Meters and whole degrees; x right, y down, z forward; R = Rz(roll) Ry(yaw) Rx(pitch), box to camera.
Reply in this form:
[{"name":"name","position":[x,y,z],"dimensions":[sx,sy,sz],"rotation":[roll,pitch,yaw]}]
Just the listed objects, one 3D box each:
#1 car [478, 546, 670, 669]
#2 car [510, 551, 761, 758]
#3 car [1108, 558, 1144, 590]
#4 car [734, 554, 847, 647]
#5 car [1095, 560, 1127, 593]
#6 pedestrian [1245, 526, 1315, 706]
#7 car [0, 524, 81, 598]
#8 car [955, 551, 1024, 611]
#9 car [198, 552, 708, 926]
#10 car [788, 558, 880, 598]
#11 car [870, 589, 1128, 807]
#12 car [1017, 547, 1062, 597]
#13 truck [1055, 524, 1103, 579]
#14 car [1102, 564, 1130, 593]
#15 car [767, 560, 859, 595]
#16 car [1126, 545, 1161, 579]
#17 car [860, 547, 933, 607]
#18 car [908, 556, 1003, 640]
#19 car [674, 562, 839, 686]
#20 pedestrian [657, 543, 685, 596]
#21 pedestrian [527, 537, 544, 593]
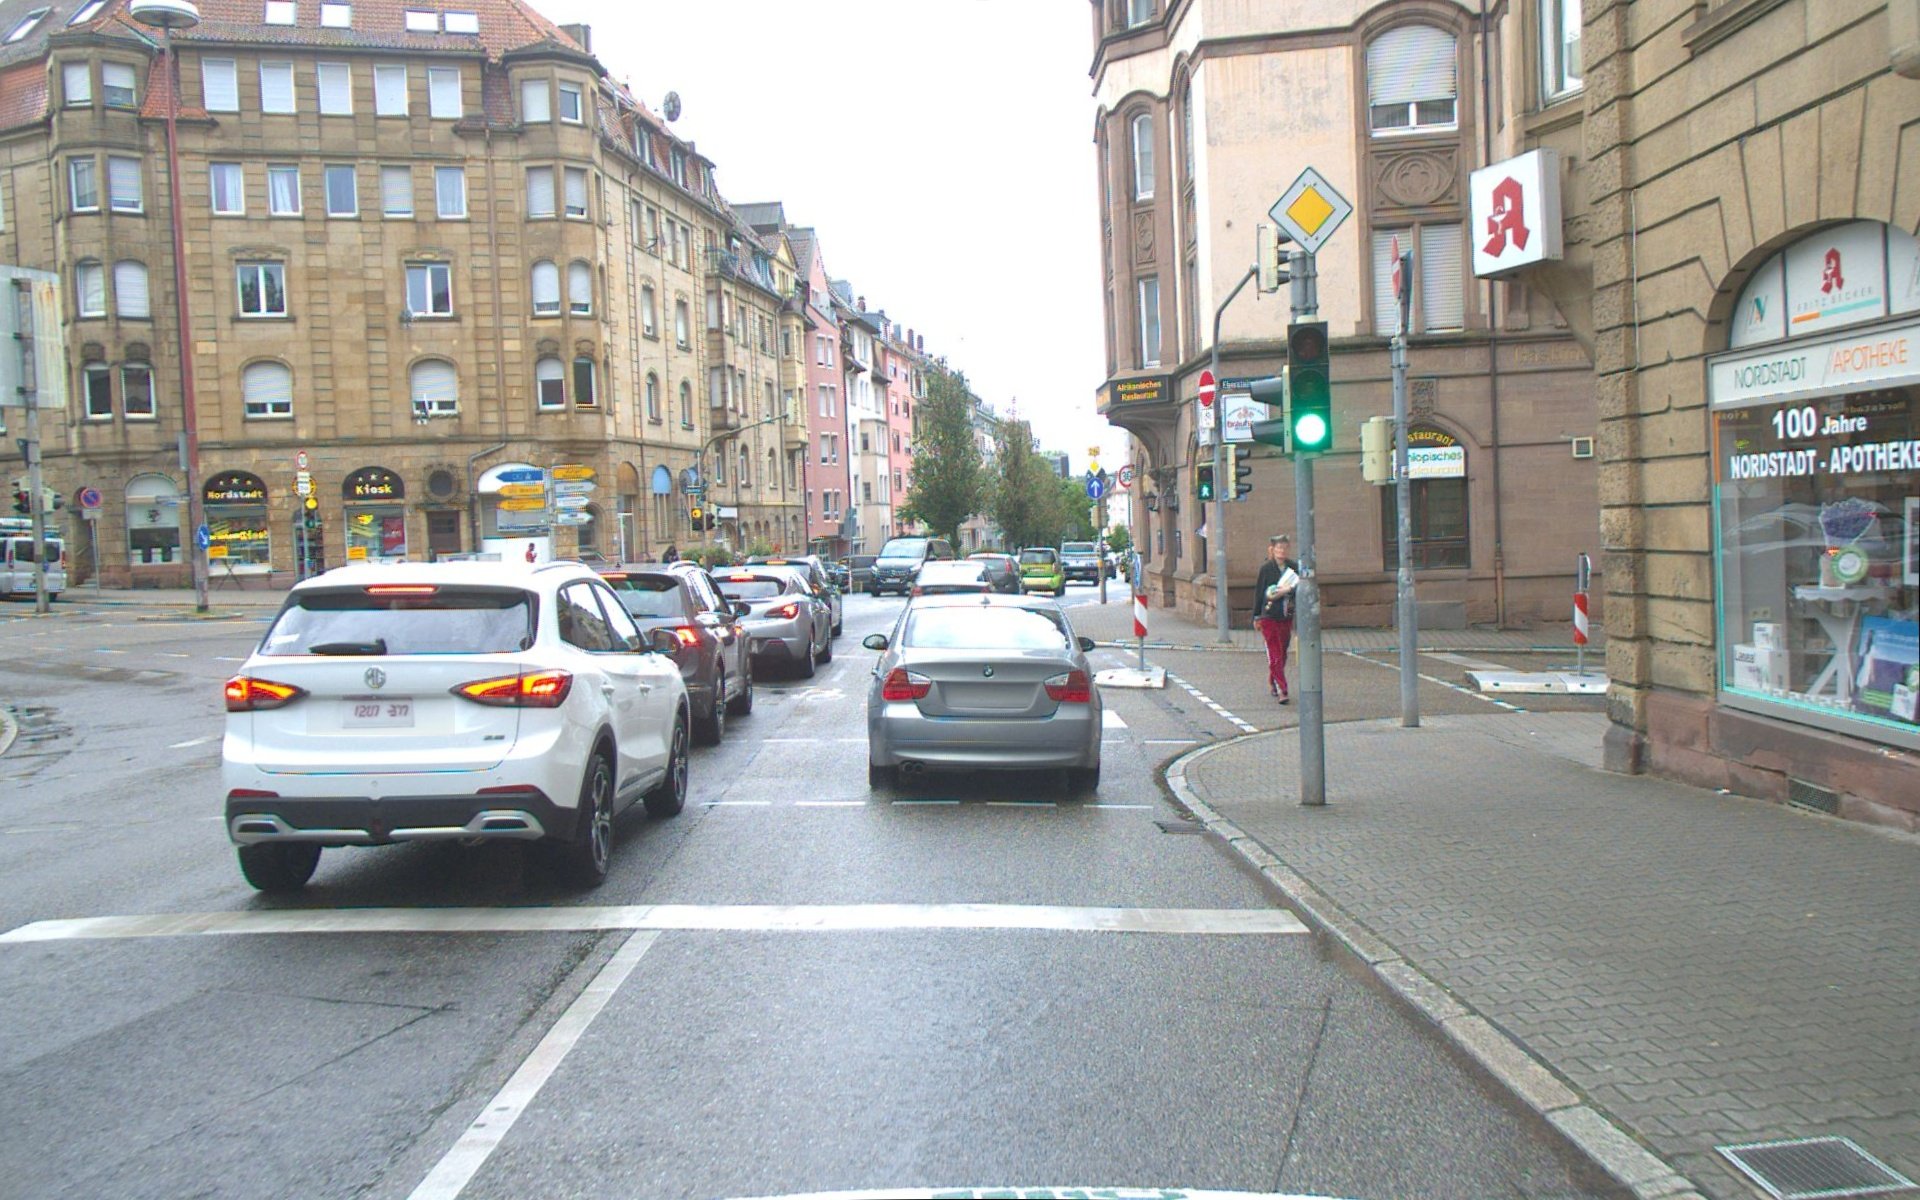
[{"name":"car","position":[-6.167,0.053,26.886],"dimensions":[1.679,1.521,3.687],"rotation":[-10,2,7]},{"name":"car","position":[-3.040,0.407,16.342],"dimensions":[1.716,1.673,4.212],"rotation":[-1,3,-1]},{"name":"car","position":[8.492,-1.327,84.250],"dimensions":[1.761,1.592,4.496],"rotation":[-1,1,6]},{"name":"car","position":[-3.022,-0.011,30.195],"dimensions":[1.716,1.562,4.214],"rotation":[-1,1,-1]},{"name":"car","position":[9.081,-1.397,99.352],"dimensions":[1.774,1.937,4.003],"rotation":[1,0,7]},{"name":"pedestrian","position":[3.639,0.159,18.867],"dimensions":[0.683,1.983,1.092],"rotation":[0,2,6]},{"name":"car","position":[-29.483,-1.188,50.835],"dimensions":[4.694,2.206,1.998],"rotation":[0,1,26]},{"name":"car","position":[0.816,-0.511,44.057],"dimensions":[1.662,1.509,3.795],"rotation":[-1,1,3]},{"name":"car","position":[-2.638,0.611,9.719],"dimensions":[1.716,1.673,4.378],"rotation":[-1,1,-1]},{"name":"car","position":[-6.383,-1.116,84.137],"dimensions":[4.581,1.972,1.863],"rotation":[0,1,-3]},{"name":"car","position":[0.223,0.651,13.045],"dimensions":[1.733,1.453,3.740],"rotation":[1,0,-1]},{"name":"car","position":[2.645,-0.906,54.507],"dimensions":[1.418,1.593,3.334],"rotation":[-1,1,3]},{"name":"truck","position":[5.525,-2.196,76.557],"dimensions":[1.989,2.454,4.831],"rotation":[-1,0,6]},{"name":"car","position":[10.213,-1.407,108.151],"dimensions":[1.740,1.829,4.003],"rotation":[1,0,7]},{"name":"car","position":[-7.001,-1.091,79.073],"dimensions":[4.059,1.537,1.875],"rotation":[-2,1,7]},{"name":"car","position":[9.972,-2.051,89.610],"dimensions":[1.839,1.761,4.681],"rotation":[-1,1,7]},{"name":"car","position":[-2.190,-0.774,55.882],"dimensions":[1.712,1.878,4.134],"rotation":[-3,1,-12]},{"name":"car","position":[-0.066,-0.066,30.906],"dimensions":[1.647,1.453,3.741],"rotation":[-1,1,0]},{"name":"car","position":[-2.755,0.265,23.254],"dimensions":[1.716,1.508,4.182],"rotation":[-1,2,1]},{"name":"pedestrian","position":[-9.623,-1.019,55.101],"dimensions":[0.815,1.731,0.634],"rotation":[-1,1,-22]},{"name":"pedestrian","position":[-13.779,-1.142,53.676],"dimensions":[0.514,1.805,0.690],"rotation":[-1,1,-17]}]
